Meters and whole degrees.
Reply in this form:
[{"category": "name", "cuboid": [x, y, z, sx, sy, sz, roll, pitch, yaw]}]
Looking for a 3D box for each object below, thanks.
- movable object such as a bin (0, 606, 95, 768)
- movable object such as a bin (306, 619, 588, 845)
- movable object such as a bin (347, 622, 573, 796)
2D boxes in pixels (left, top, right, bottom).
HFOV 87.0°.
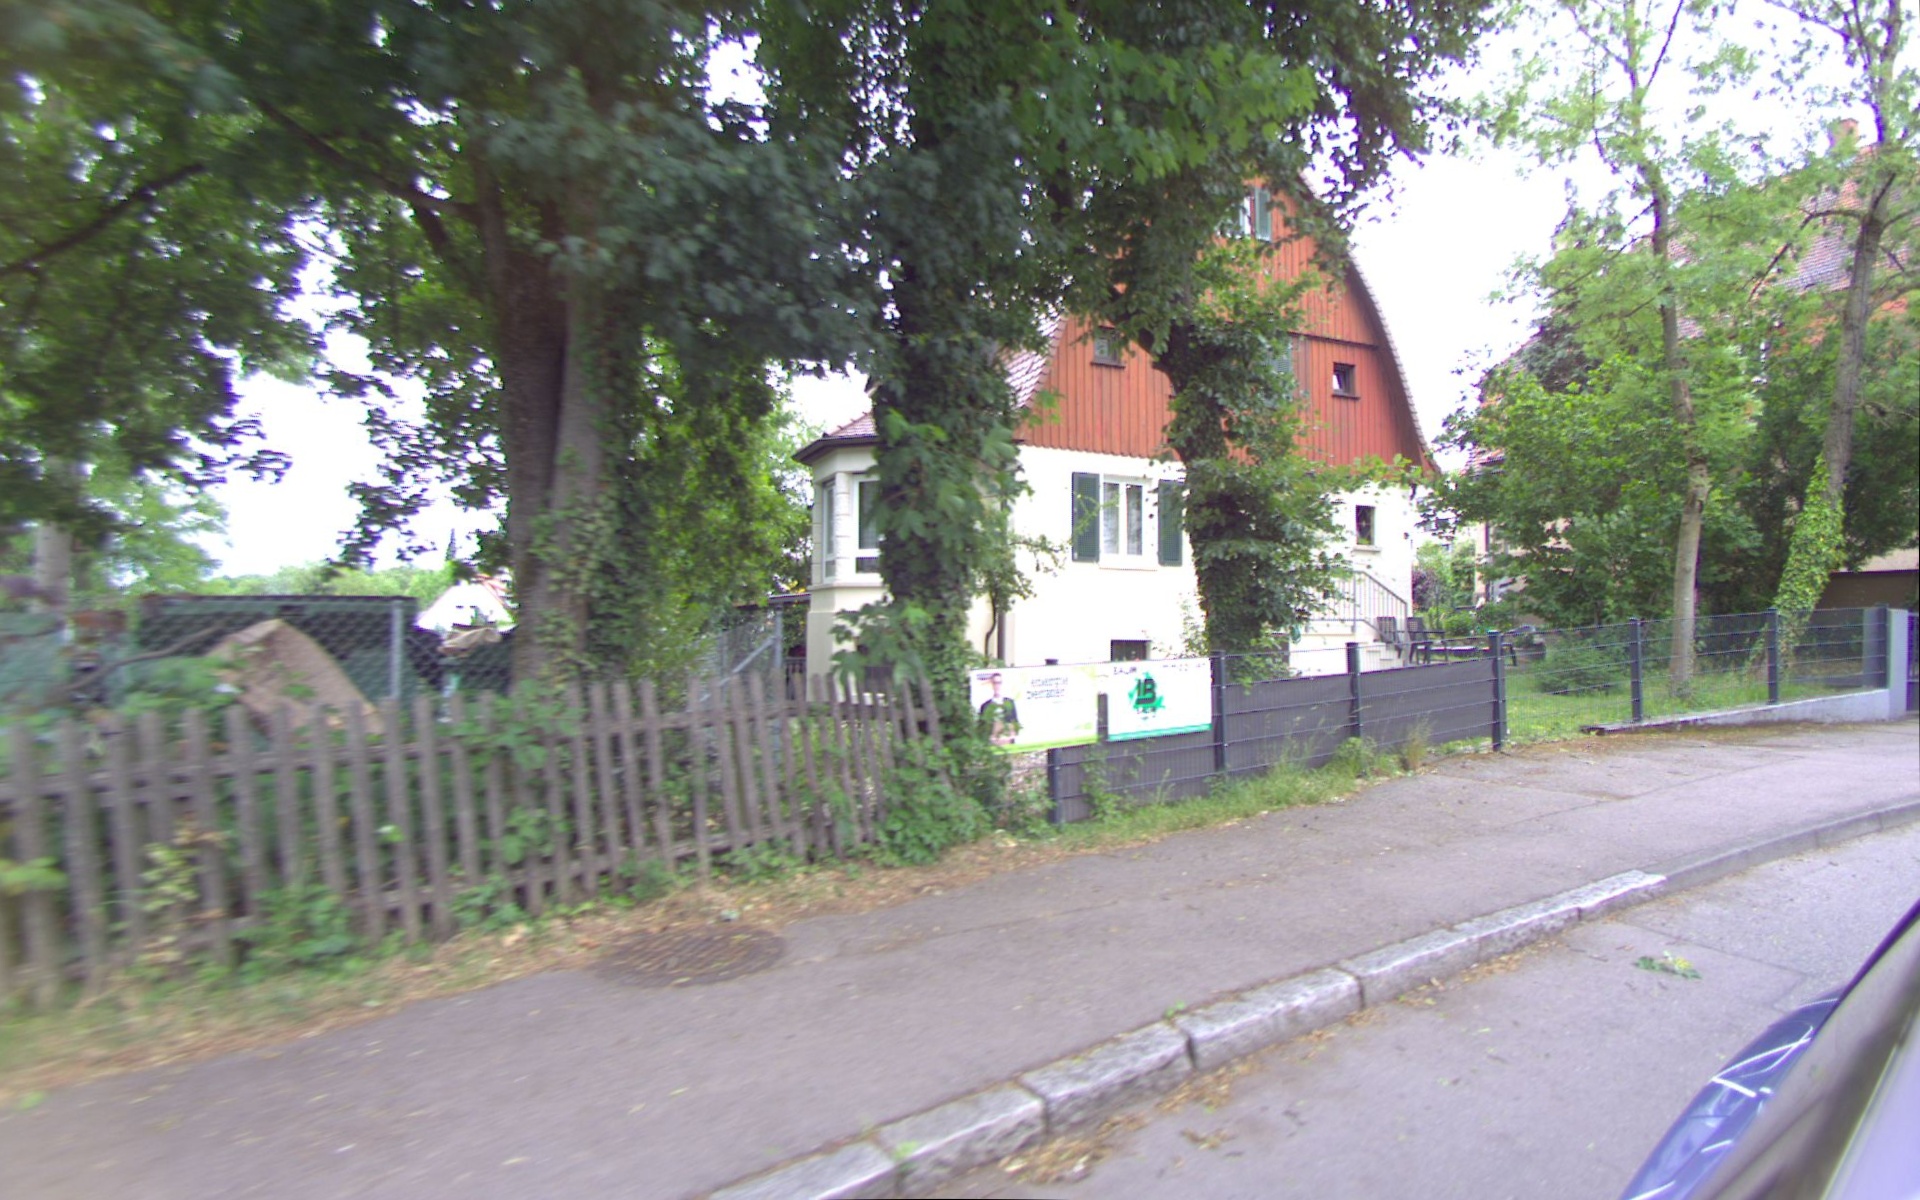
[{"category": "movable object such as a bin", "cuboid": [-10.439, 0.850, 10.863, 1.419, 1.567, 2.897, 1, -1, -35]}, {"category": "movable object such as a bin", "cuboid": [-4.922, 1.095, 9.686, 2.164, 1.810, 2.111, 1, -1, -32]}, {"category": "movable object such as a bin", "cuboid": [-5.965, 1.144, 11.964, 2.164, 1.735, 2.502, 1, -1, -32]}]
